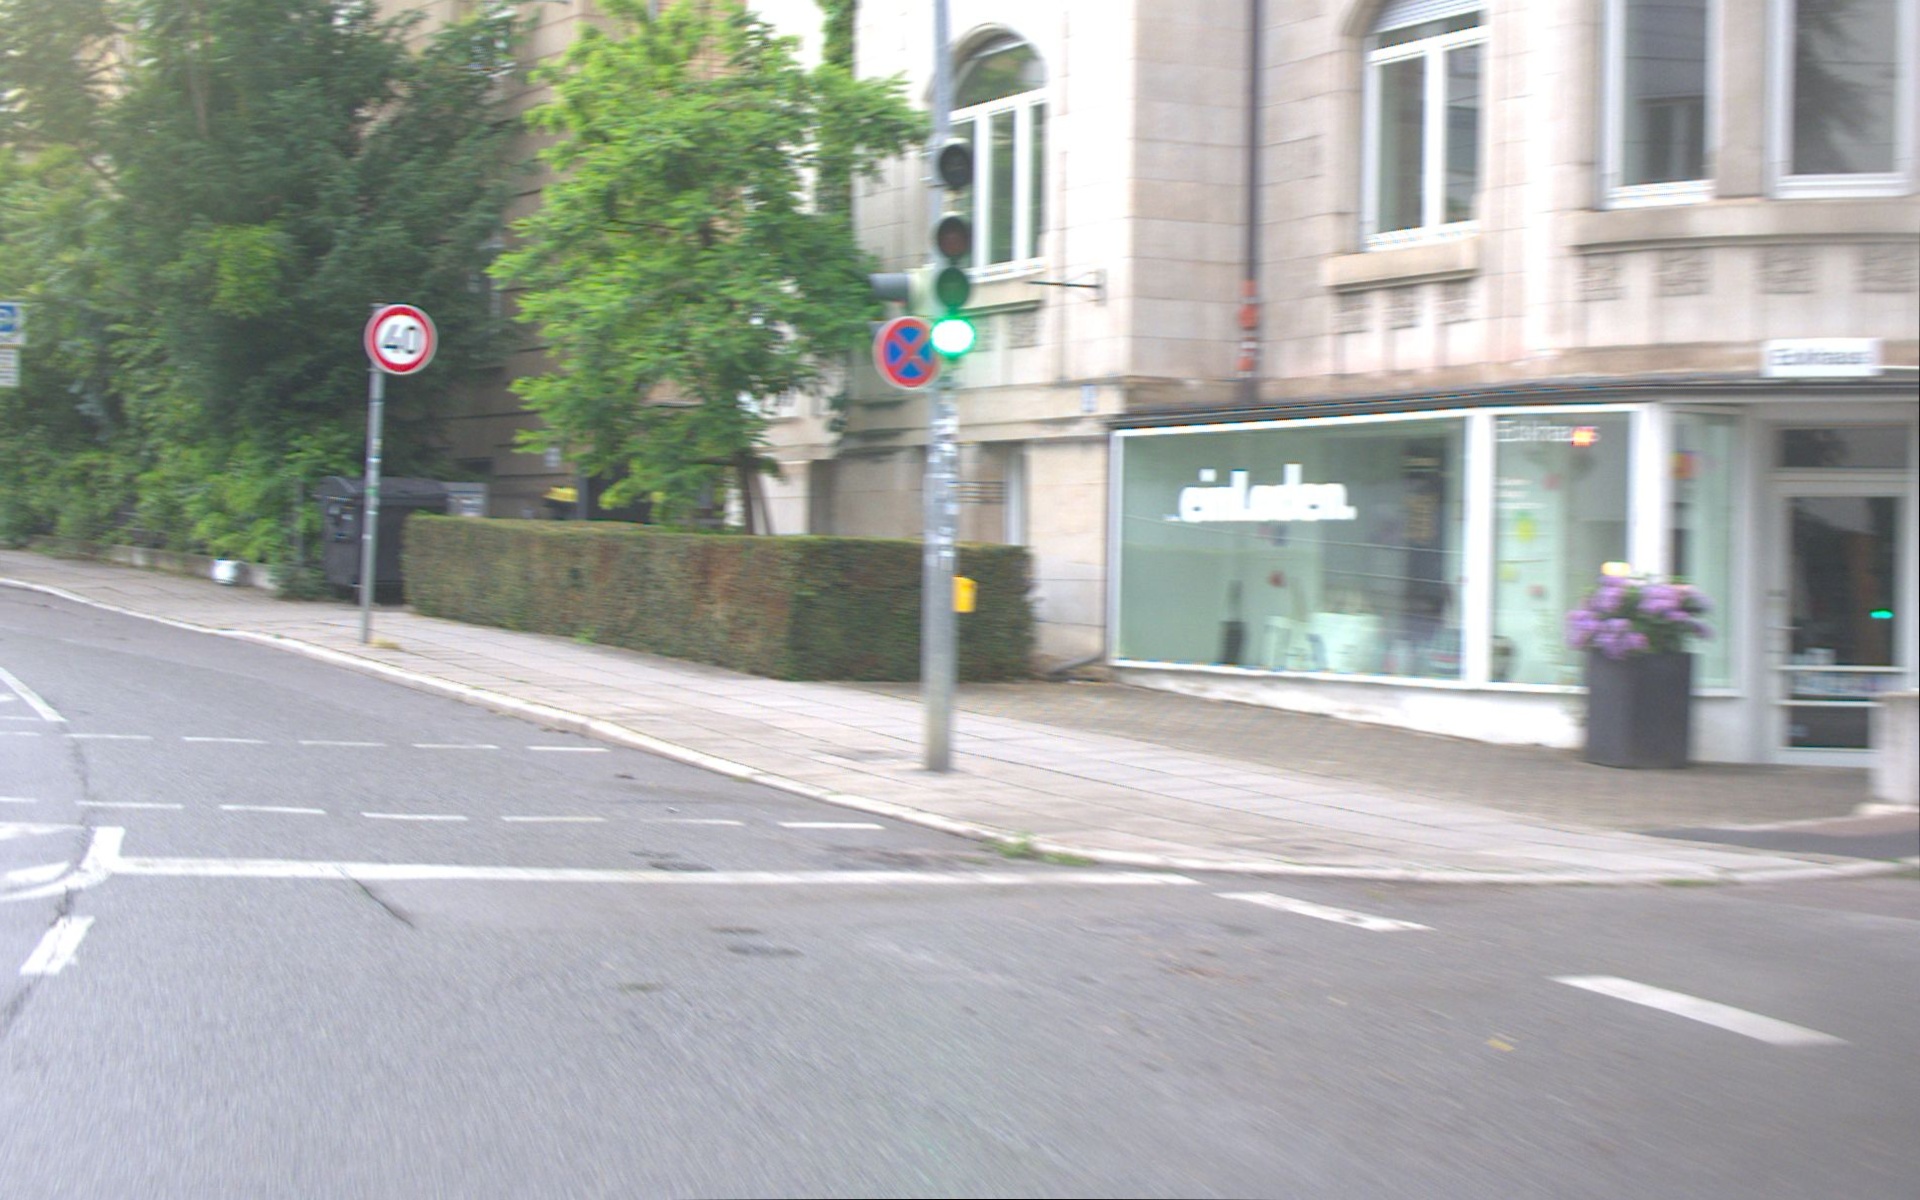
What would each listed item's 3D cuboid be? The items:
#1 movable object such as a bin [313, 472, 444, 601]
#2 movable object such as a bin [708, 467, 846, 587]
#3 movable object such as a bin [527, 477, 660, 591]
[{"bbox_3d":[-6.649,-0.734,39.288,1.225,1.398,0.823,-2,6,-37],"label":"movable object such as a bin"},{"bbox_3d":[-2.244,-0.909,42.058,1.230,1.420,1.308,-1,3,-29],"label":"movable object such as a bin"},{"bbox_3d":[-4.361,-0.800,40.879,1.217,1.303,1.168,-1,3,-29],"label":"movable object such as a bin"}]
